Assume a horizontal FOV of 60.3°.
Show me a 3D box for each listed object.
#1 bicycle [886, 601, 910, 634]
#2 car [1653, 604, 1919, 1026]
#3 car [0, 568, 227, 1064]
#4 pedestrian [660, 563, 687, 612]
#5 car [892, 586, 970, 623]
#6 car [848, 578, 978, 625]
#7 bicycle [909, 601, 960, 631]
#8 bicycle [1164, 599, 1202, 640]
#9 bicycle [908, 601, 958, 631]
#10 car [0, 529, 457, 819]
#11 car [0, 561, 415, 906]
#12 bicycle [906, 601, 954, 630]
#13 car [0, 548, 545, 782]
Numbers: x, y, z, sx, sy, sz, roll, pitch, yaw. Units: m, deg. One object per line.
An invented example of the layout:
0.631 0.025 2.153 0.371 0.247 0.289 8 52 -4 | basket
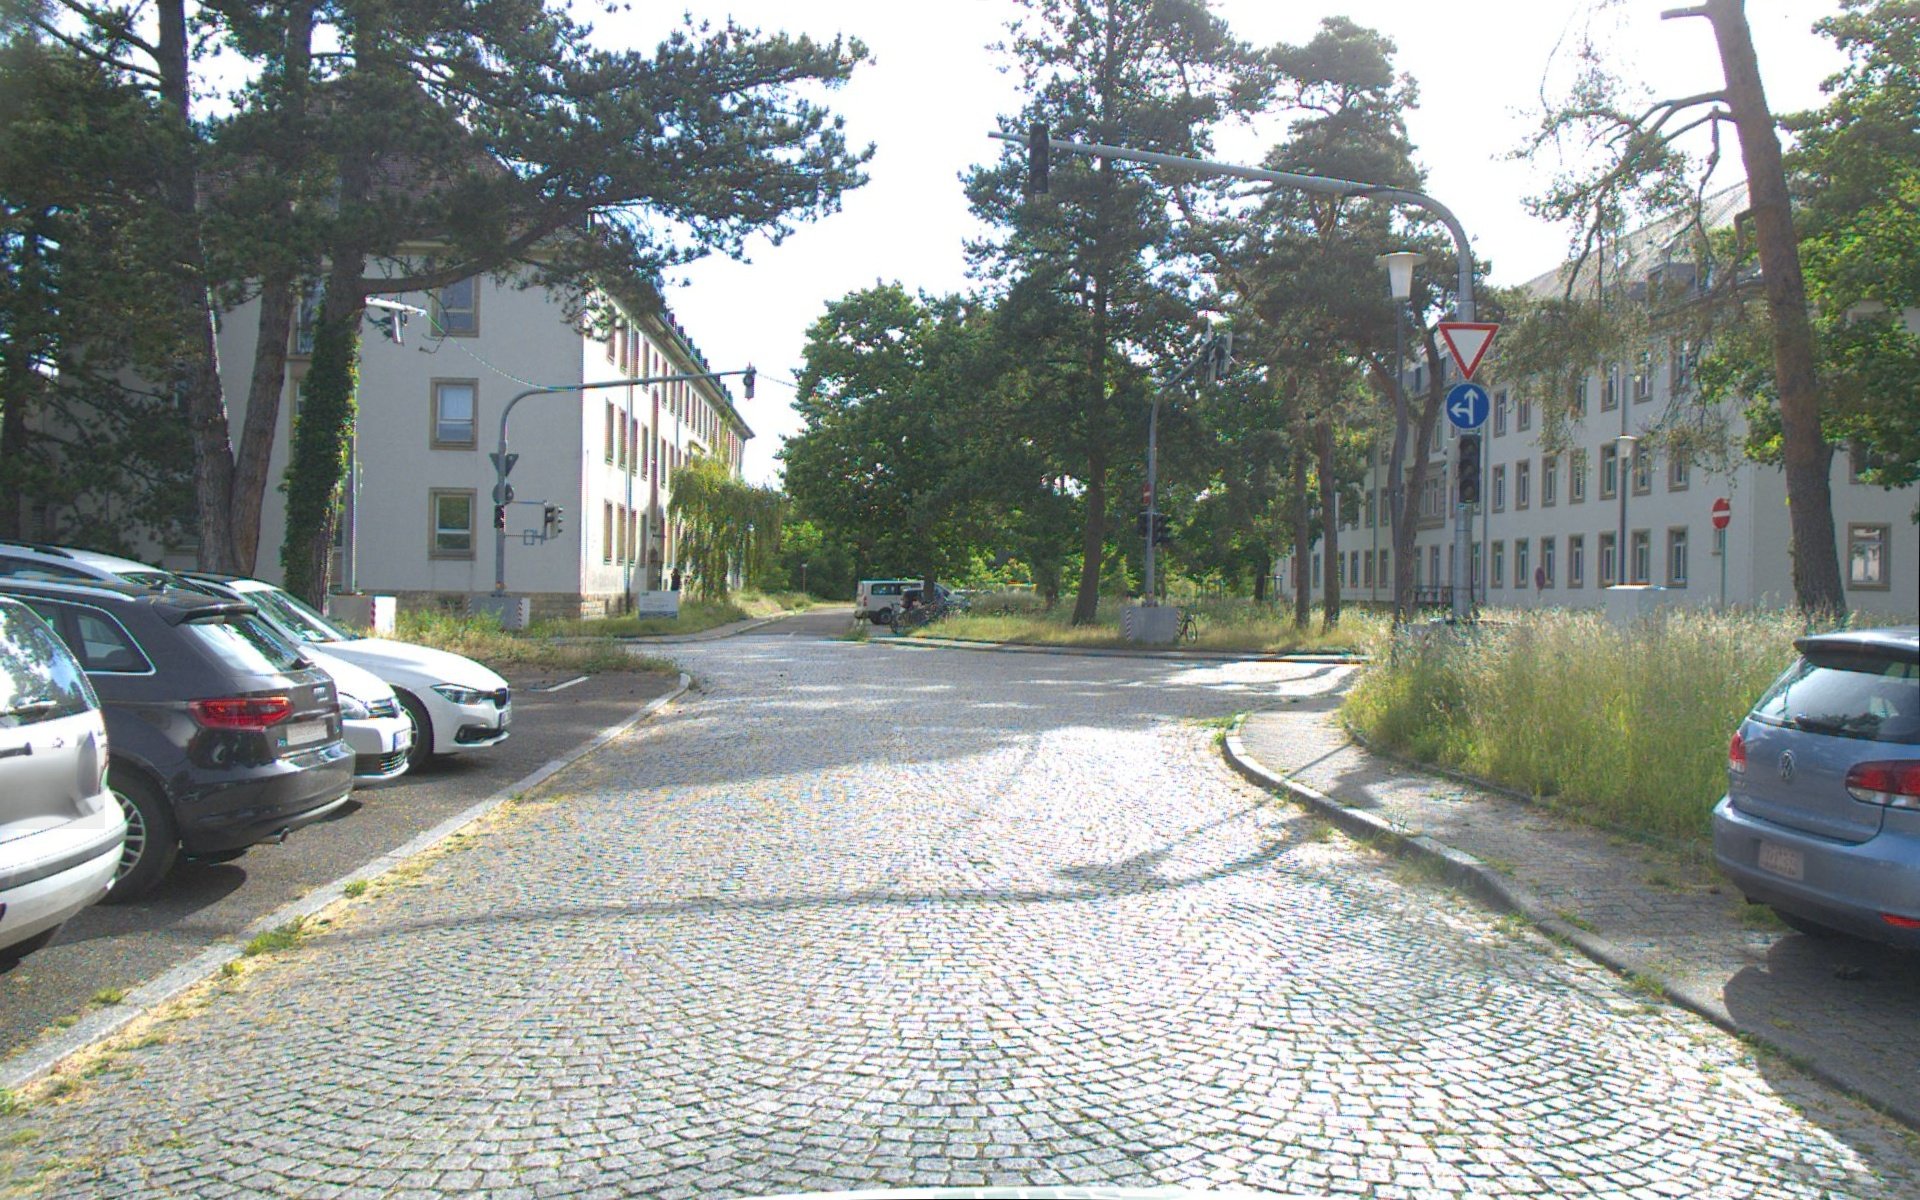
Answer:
-2.040 0.554 54.263 0.713 1.016 1.798 1 1 -3 | bicycle
5.624 0.798 7.190 4.455 1.531 1.931 0 0 -5 | car
-4.757 0.554 5.645 3.612 1.499 1.847 4 -1 -5 | car
-12.051 -0.524 69.594 0.966 1.998 0.932 1 -1 -4 | pedestrian
-1.251 0.211 70.294 2.983 1.491 1.712 1 -1 -16 | car
-2.108 0.077 73.811 5.414 1.949 2.243 1 0 -17 | car
-0.903 0.557 57.930 1.757 1.016 0.643 1 1 -5 | bicycle
5.945 0.514 44.170 0.551 1.016 1.749 1 1 -7 | bicycle
-0.963 0.561 58.948 1.757 1.016 0.643 1 1 -5 | bicycle
-5.631 0.407 10.947 4.045 1.627 1.855 4 -1 -8 | car
-4.943 0.535 8.292 3.754 1.454 1.857 4 -1 -4 | car
-1.119 0.564 61.181 1.757 1.016 0.643 1 1 -5 | bicycle
-5.867 0.482 13.477 4.499 1.480 1.901 4 1 -6 | car
